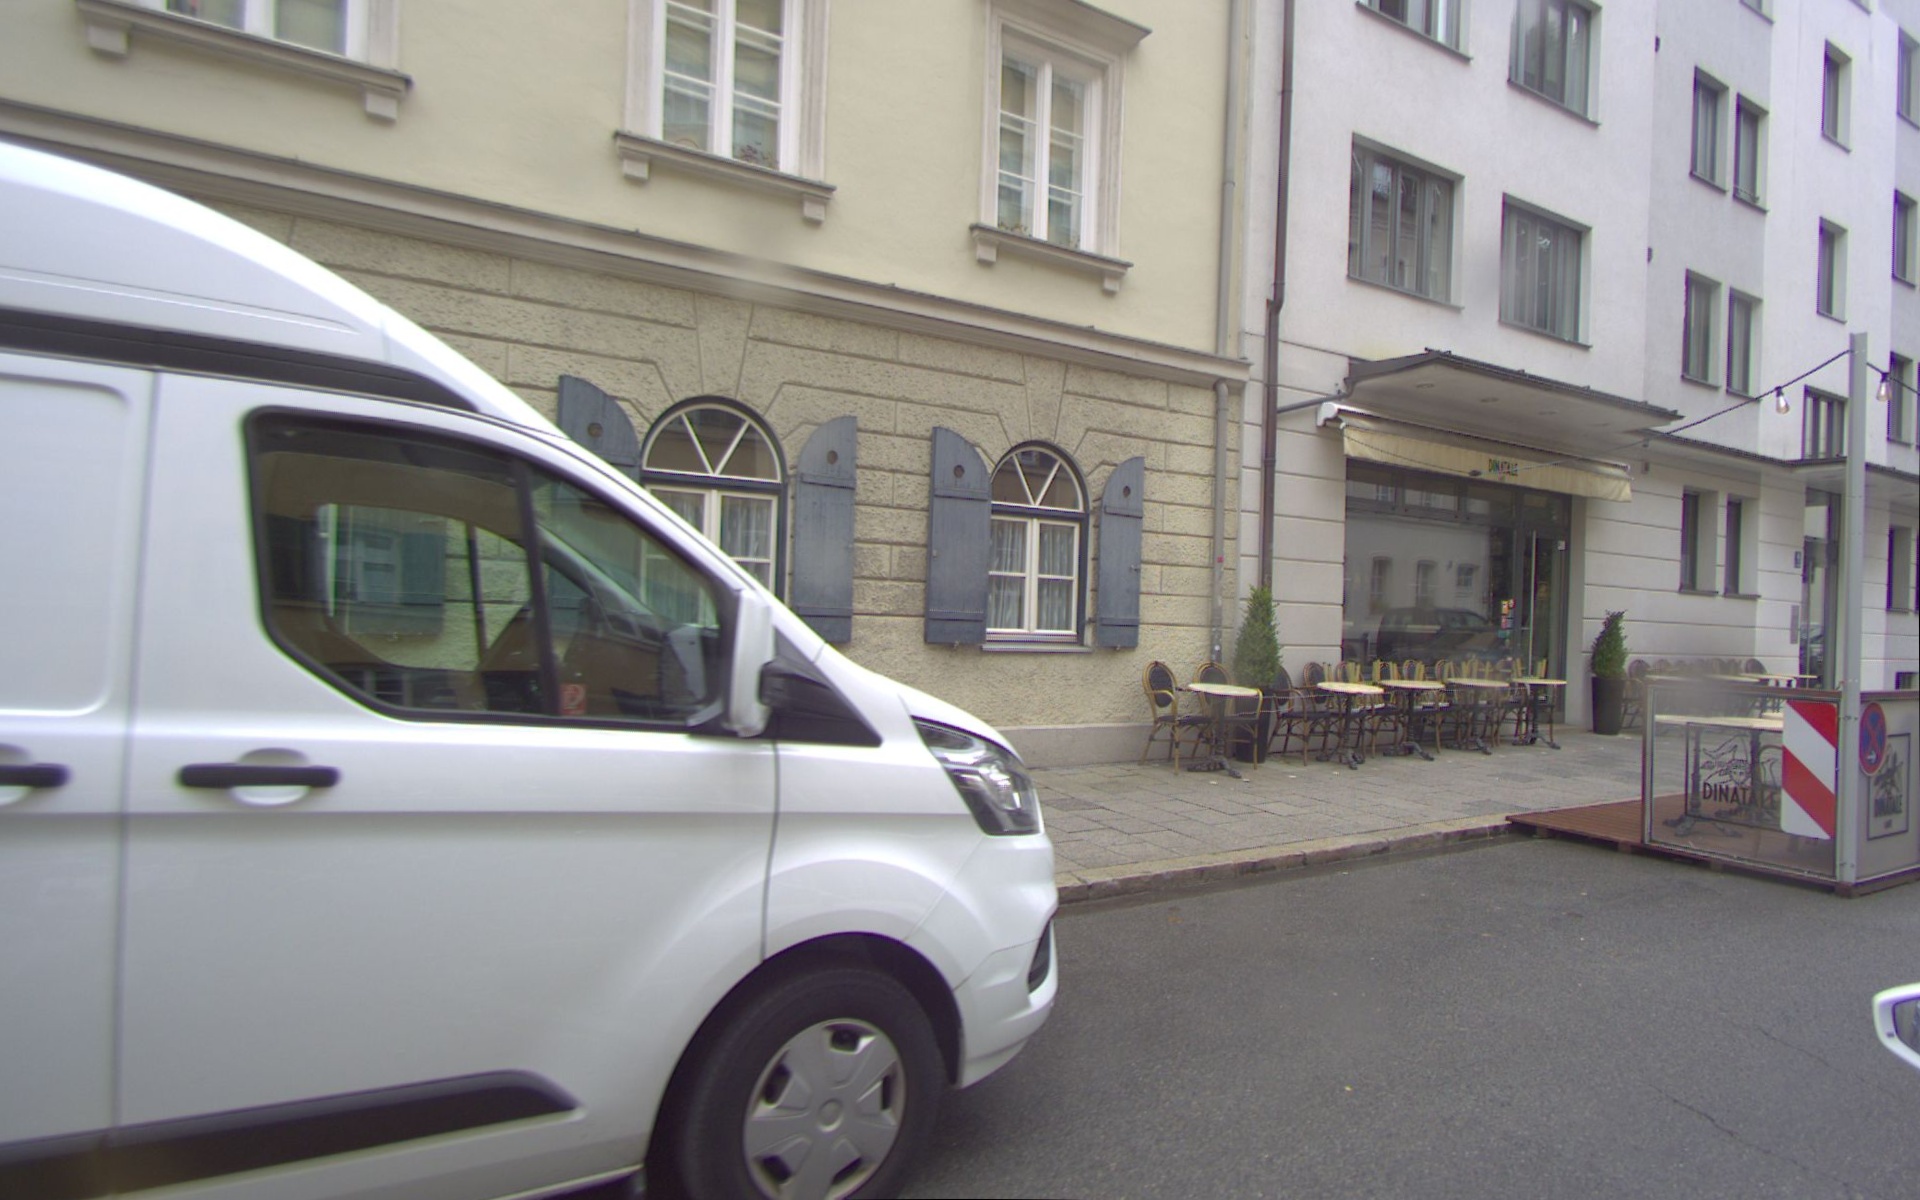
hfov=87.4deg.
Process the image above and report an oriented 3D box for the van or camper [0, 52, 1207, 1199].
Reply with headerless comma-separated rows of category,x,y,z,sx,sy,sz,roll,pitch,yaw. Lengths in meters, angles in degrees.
van or camper,-2.185,0.338,2.245,5.411,2.342,1.985,1,-1,-29
